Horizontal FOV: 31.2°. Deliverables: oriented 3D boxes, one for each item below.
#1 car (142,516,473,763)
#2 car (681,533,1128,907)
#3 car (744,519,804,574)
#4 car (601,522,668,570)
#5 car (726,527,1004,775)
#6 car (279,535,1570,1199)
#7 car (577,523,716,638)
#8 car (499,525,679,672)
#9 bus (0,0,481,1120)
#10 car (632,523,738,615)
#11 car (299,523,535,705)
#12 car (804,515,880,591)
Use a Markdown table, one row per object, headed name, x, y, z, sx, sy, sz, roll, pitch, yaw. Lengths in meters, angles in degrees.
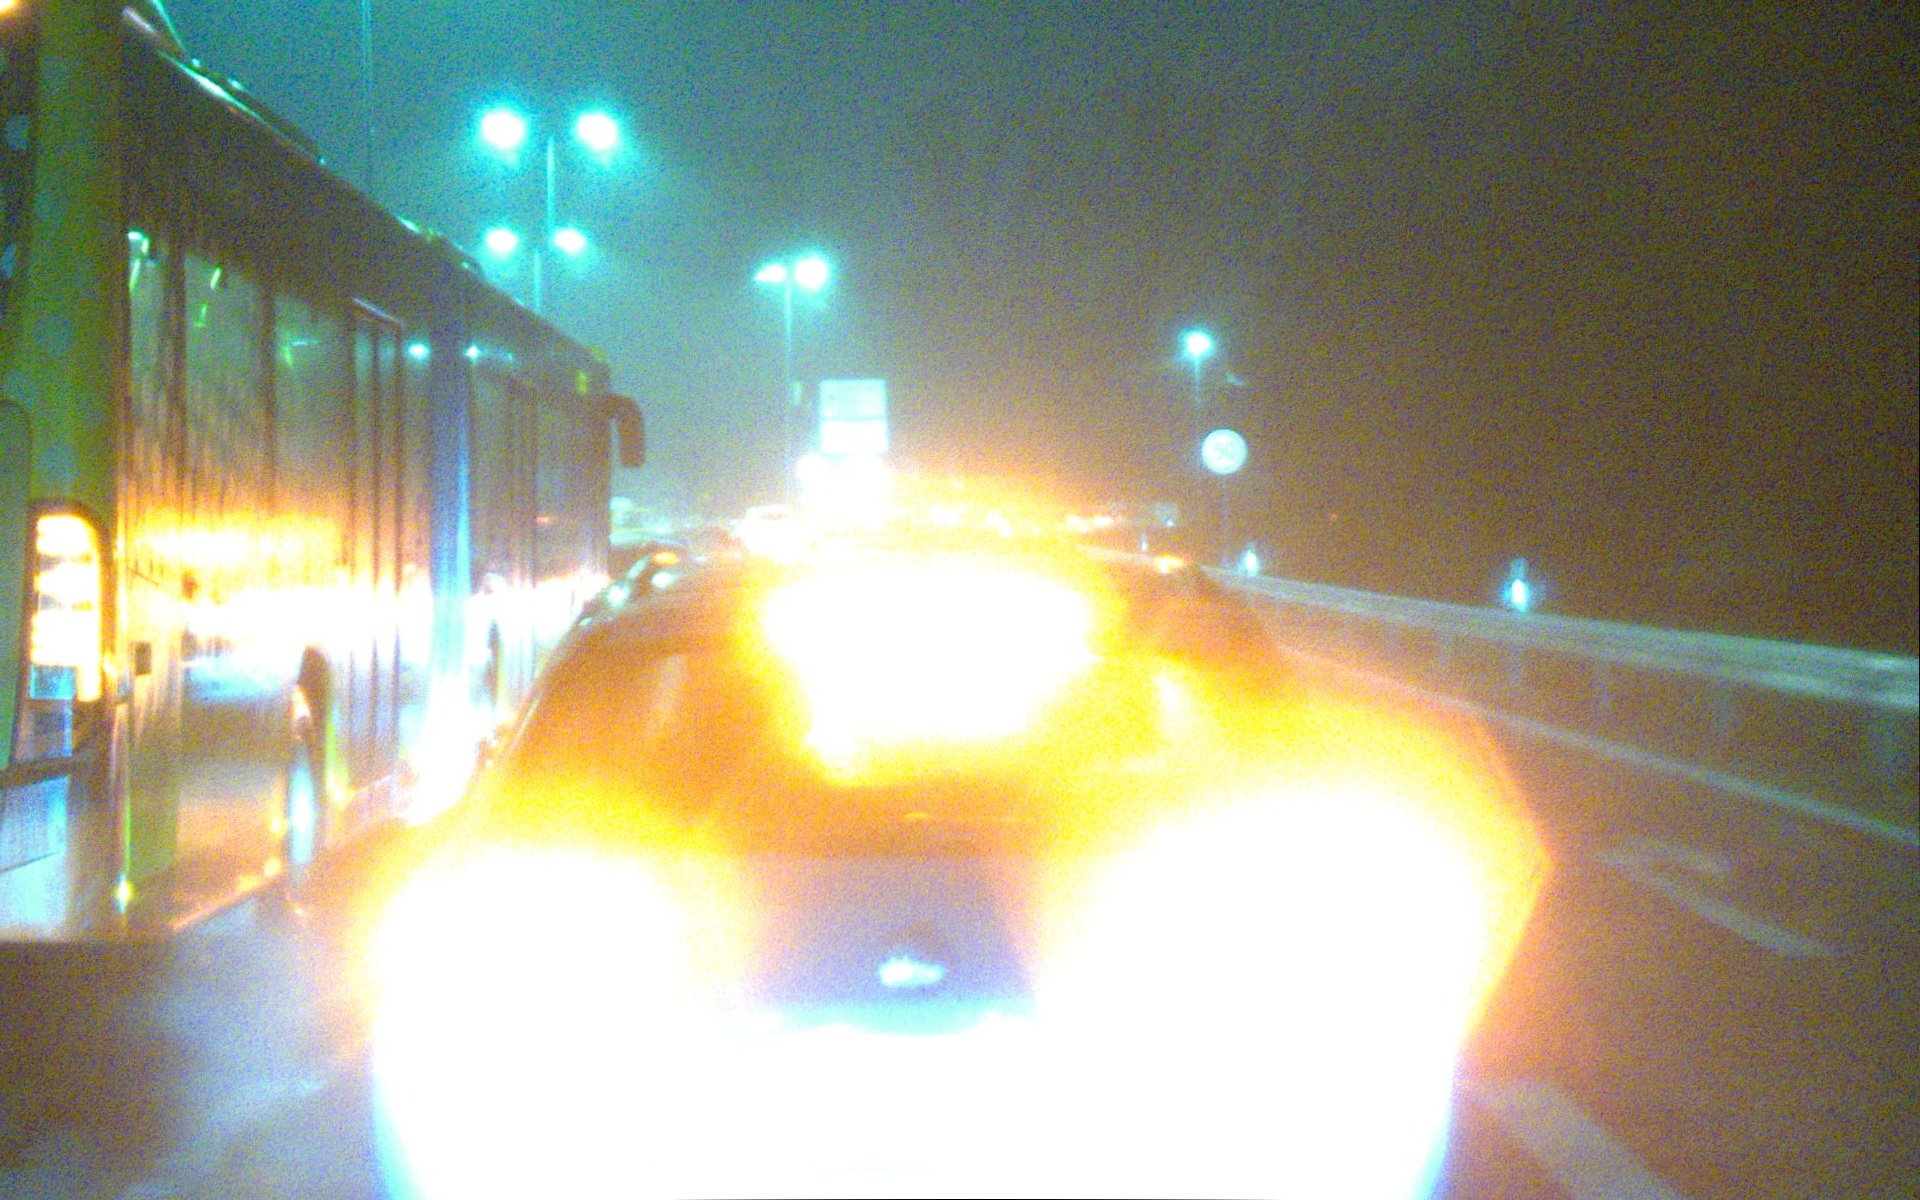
| name | x | y | z | sx | sy | sz | roll | pitch | yaw |
| --- | --- | --- | --- | --- | --- | --- | --- | --- | --- |
| car | -4.360 | 0.211 | 23.460 | 1.779 | 1.538 | 3.875 | 0 | 1 | -4 |
| car | -0.319 | 0.424 | 15.764 | 1.731 | 1.444 | 4.725 | 0 | 1 | -3 |
| car | -6.146 | -1.765 | 113.940 | 1.816 | 1.791 | 3.803 | 1 | 1 | -1 |
| car | -11.236 | -1.884 | 118.838 | 1.993 | 1.634 | 4.000 | 0 | 1 | -1 |
| car | -0.733 | 0.286 | 23.715 | 1.739 | 1.559 | 3.777 | 0 | 1 | -4 |
| car | -0.084 | 0.614 | 7.145 | 1.821 | 1.479 | 4.568 | 0 | 1 | -1 |
| car | -4.377 | -0.302 | 48.410 | 1.779 | 1.538 | 3.875 | 0 | 1 | -3 |
| car | -4.066 | -0.052 | 38.146 | 1.779 | 1.538 | 3.875 | 0 | 1 | -3 |
| bus | -3.605 | -0.318 | 12.751 | 2.815 | 3.013 | 8.688 | 0 | 1 | -3 |
| car | -4.805 | -0.565 | 60.175 | 1.779 | 1.538 | 3.875 | 0 | 1 | -4 |
| car | -4.844 | 0.081 | 31.088 | 1.779 | 1.538 | 3.875 | 0 | 1 | -4 |
| car | -3.219 | -1.297 | 94.439 | 1.993 | 2.007 | 4.000 | 1 | 1 | -1 |
